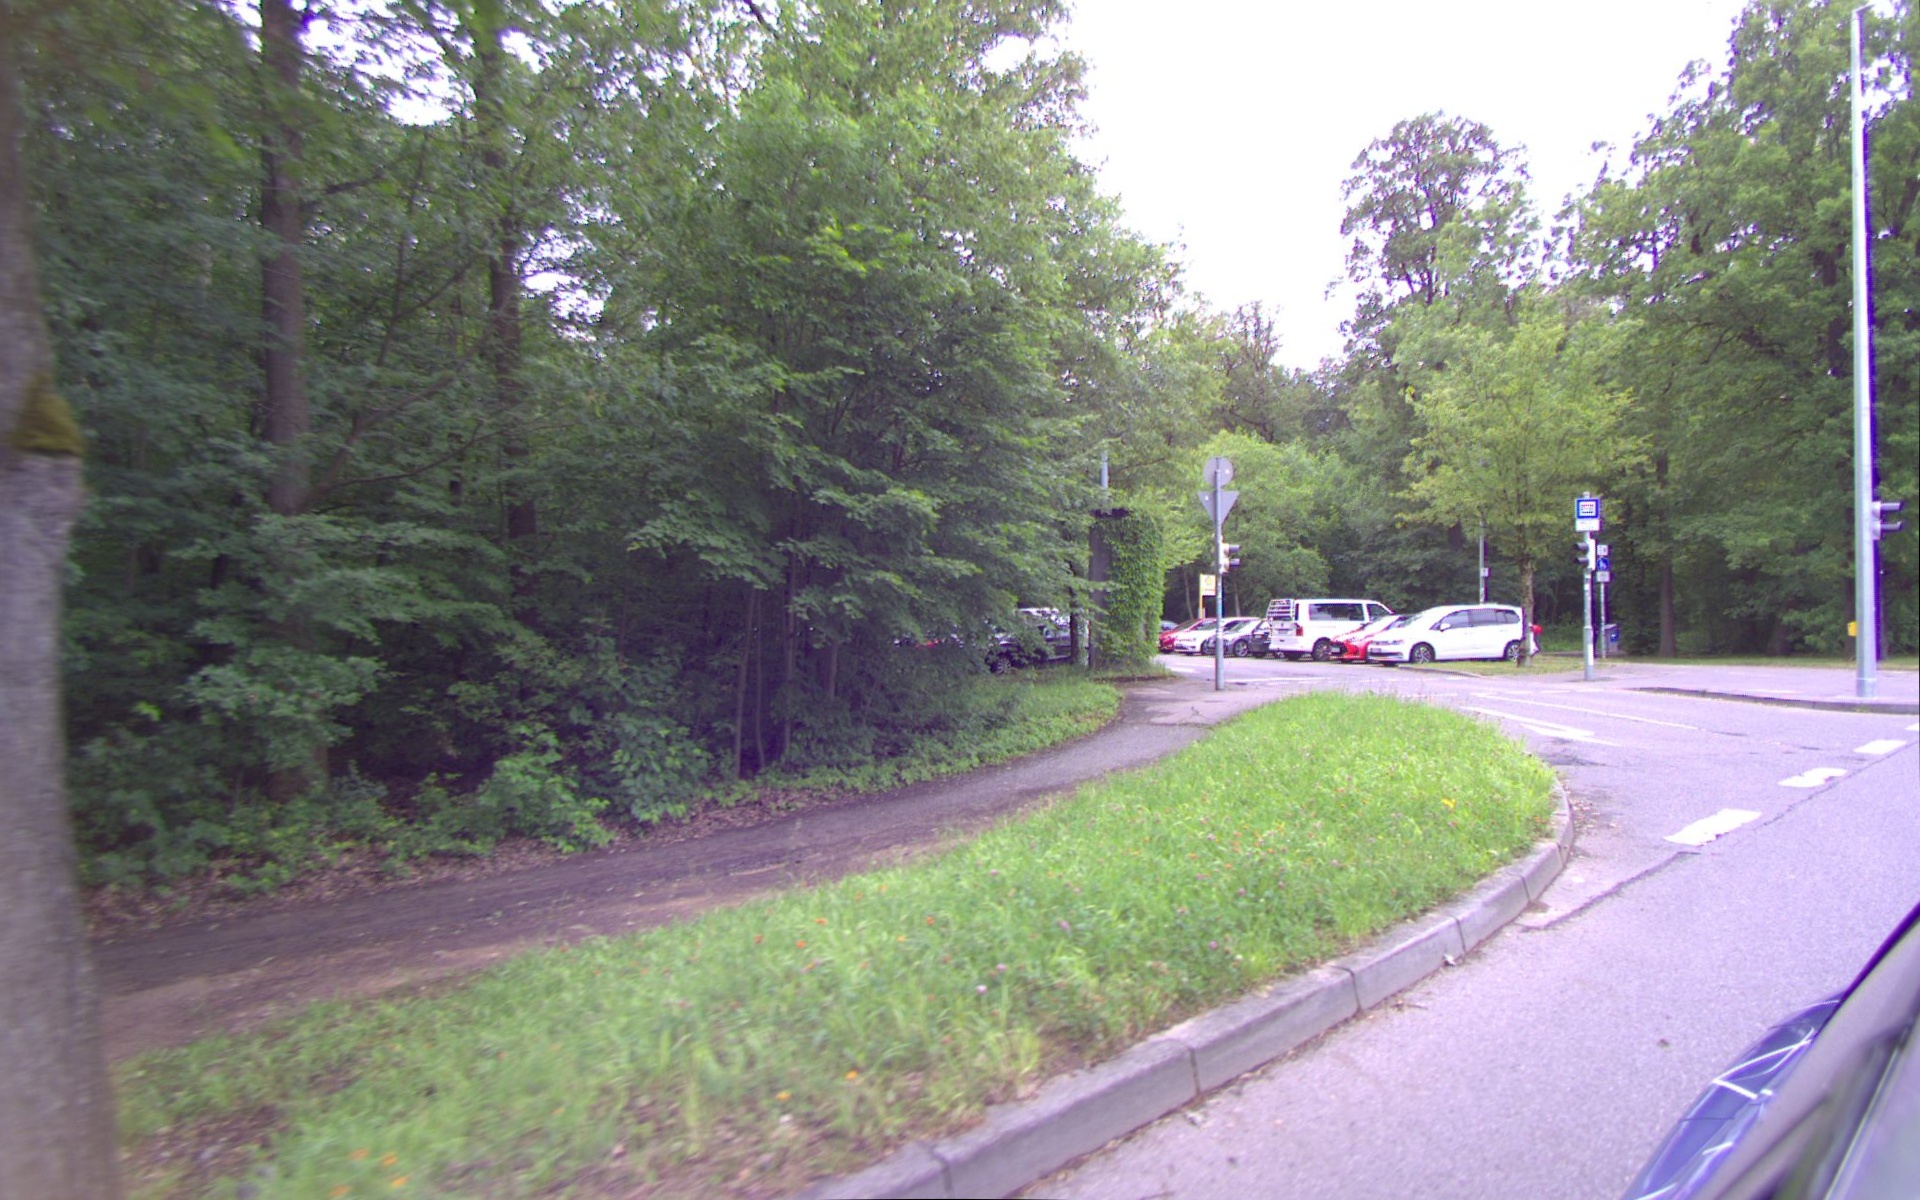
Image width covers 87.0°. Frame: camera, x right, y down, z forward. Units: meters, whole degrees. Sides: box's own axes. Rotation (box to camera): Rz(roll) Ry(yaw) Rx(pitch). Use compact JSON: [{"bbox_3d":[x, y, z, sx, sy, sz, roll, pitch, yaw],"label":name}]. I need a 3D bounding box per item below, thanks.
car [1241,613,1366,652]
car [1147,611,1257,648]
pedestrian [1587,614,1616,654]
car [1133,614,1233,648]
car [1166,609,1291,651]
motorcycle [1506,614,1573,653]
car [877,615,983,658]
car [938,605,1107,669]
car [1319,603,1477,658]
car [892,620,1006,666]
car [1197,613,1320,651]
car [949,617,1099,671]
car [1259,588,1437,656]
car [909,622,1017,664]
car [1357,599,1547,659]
[{"bbox_3d":[12.180,1.145,35.961,3.853,1.345,1.724,0,-2,-15],"label":"car"},{"bbox_3d":[10.231,1.236,42.899,4.112,1.515,1.822,0,-2,-12],"label":"car"},{"bbox_3d":[27.221,1.434,42.959,0.831,1.672,1.019,-3,-3,44],"label":"pedestrian"},{"bbox_3d":[9.975,1.392,45.383,3.983,1.476,1.767,0,-2,-12],"label":"car"},{"bbox_3d":[10.661,1.177,40.241,4.437,1.578,1.846,0,-2,-15],"label":"car"},{"bbox_3d":[18.570,1.072,32.479,0.578,1.220,1.960,0,-2,-17],"label":"motorcycle"},{"bbox_3d":[-1.230,1.464,40.856,3.906,1.639,1.851,0,-2,-18],"label":"car"},{"bbox_3d":[1.909,1.137,31.590,4.846,1.903,2.003,0,-2,-14],"label":"car"},{"bbox_3d":[13.180,0.916,30.571,3.918,1.572,1.897,0,-2,-8],"label":"car"},{"bbox_3d":[-0.425,1.605,38.313,3.906,1.643,1.851,0,-2,-18],"label":"car"},{"bbox_3d":[11.177,1.196,37.979,4.043,1.342,1.822,0,-2,-12],"label":"car"},{"bbox_3d":[1.777,1.212,28.427,3.768,1.438,1.824,0,-2,-20],"label":"car"},{"bbox_3d":[12.681,0.713,33.195,5.075,1.982,2.066,-2,-2,-13],"label":"car"},{"bbox_3d":[0.092,1.532,36.228,3.532,1.432,1.786,0,-2,-14],"label":"car"},{"bbox_3d":[13.587,0.797,28.089,4.330,1.572,2.002,0,-2,-8],"label":"car"}]
